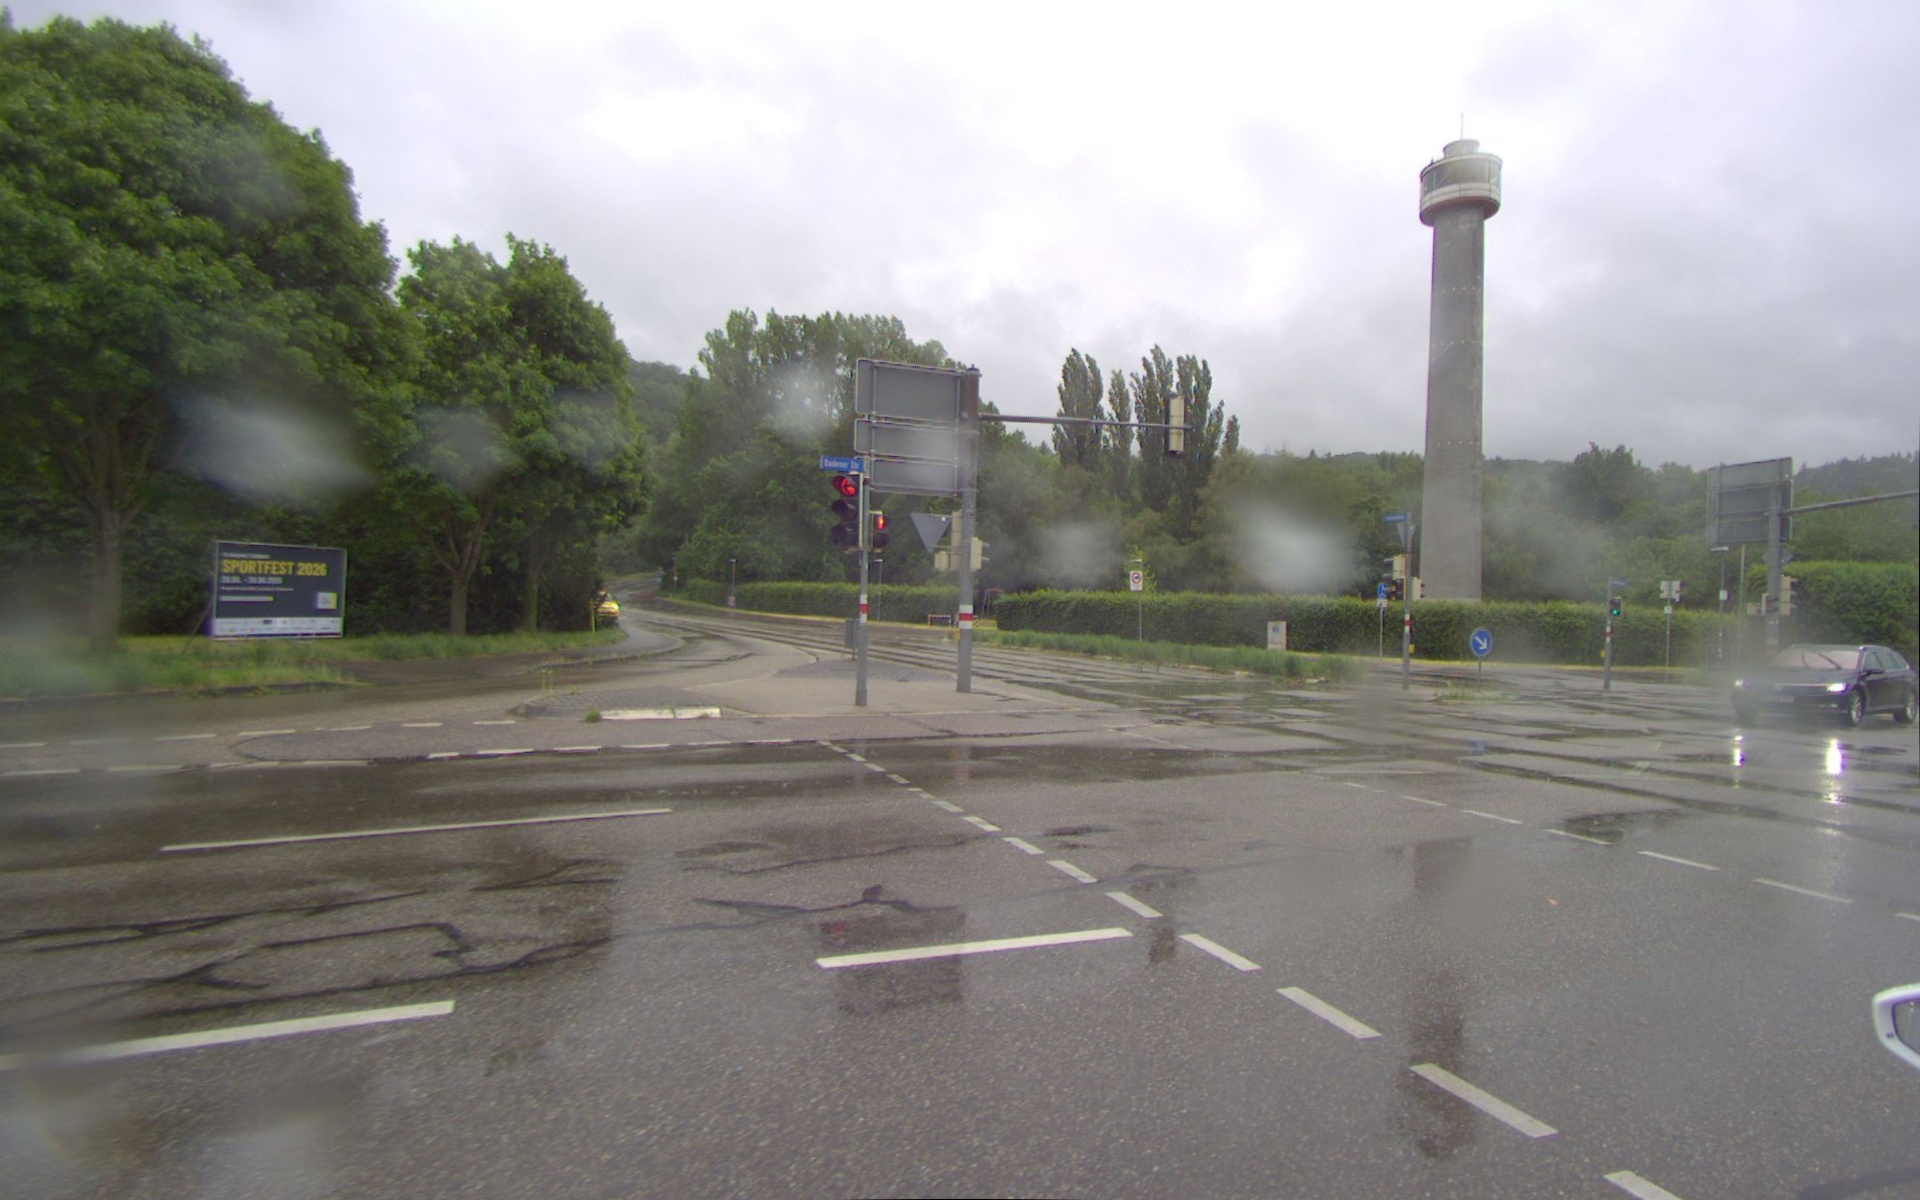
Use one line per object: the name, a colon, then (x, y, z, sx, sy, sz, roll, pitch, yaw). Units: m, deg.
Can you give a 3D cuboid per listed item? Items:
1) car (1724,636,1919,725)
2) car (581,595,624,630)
car: (16.818, 1.516, 19.482, 4.403, 1.485, 1.699, 2, -1, -32)
car: (-22.733, 0.780, 63.782, 1.794, 2.054, 3.651, 1, 1, -32)
